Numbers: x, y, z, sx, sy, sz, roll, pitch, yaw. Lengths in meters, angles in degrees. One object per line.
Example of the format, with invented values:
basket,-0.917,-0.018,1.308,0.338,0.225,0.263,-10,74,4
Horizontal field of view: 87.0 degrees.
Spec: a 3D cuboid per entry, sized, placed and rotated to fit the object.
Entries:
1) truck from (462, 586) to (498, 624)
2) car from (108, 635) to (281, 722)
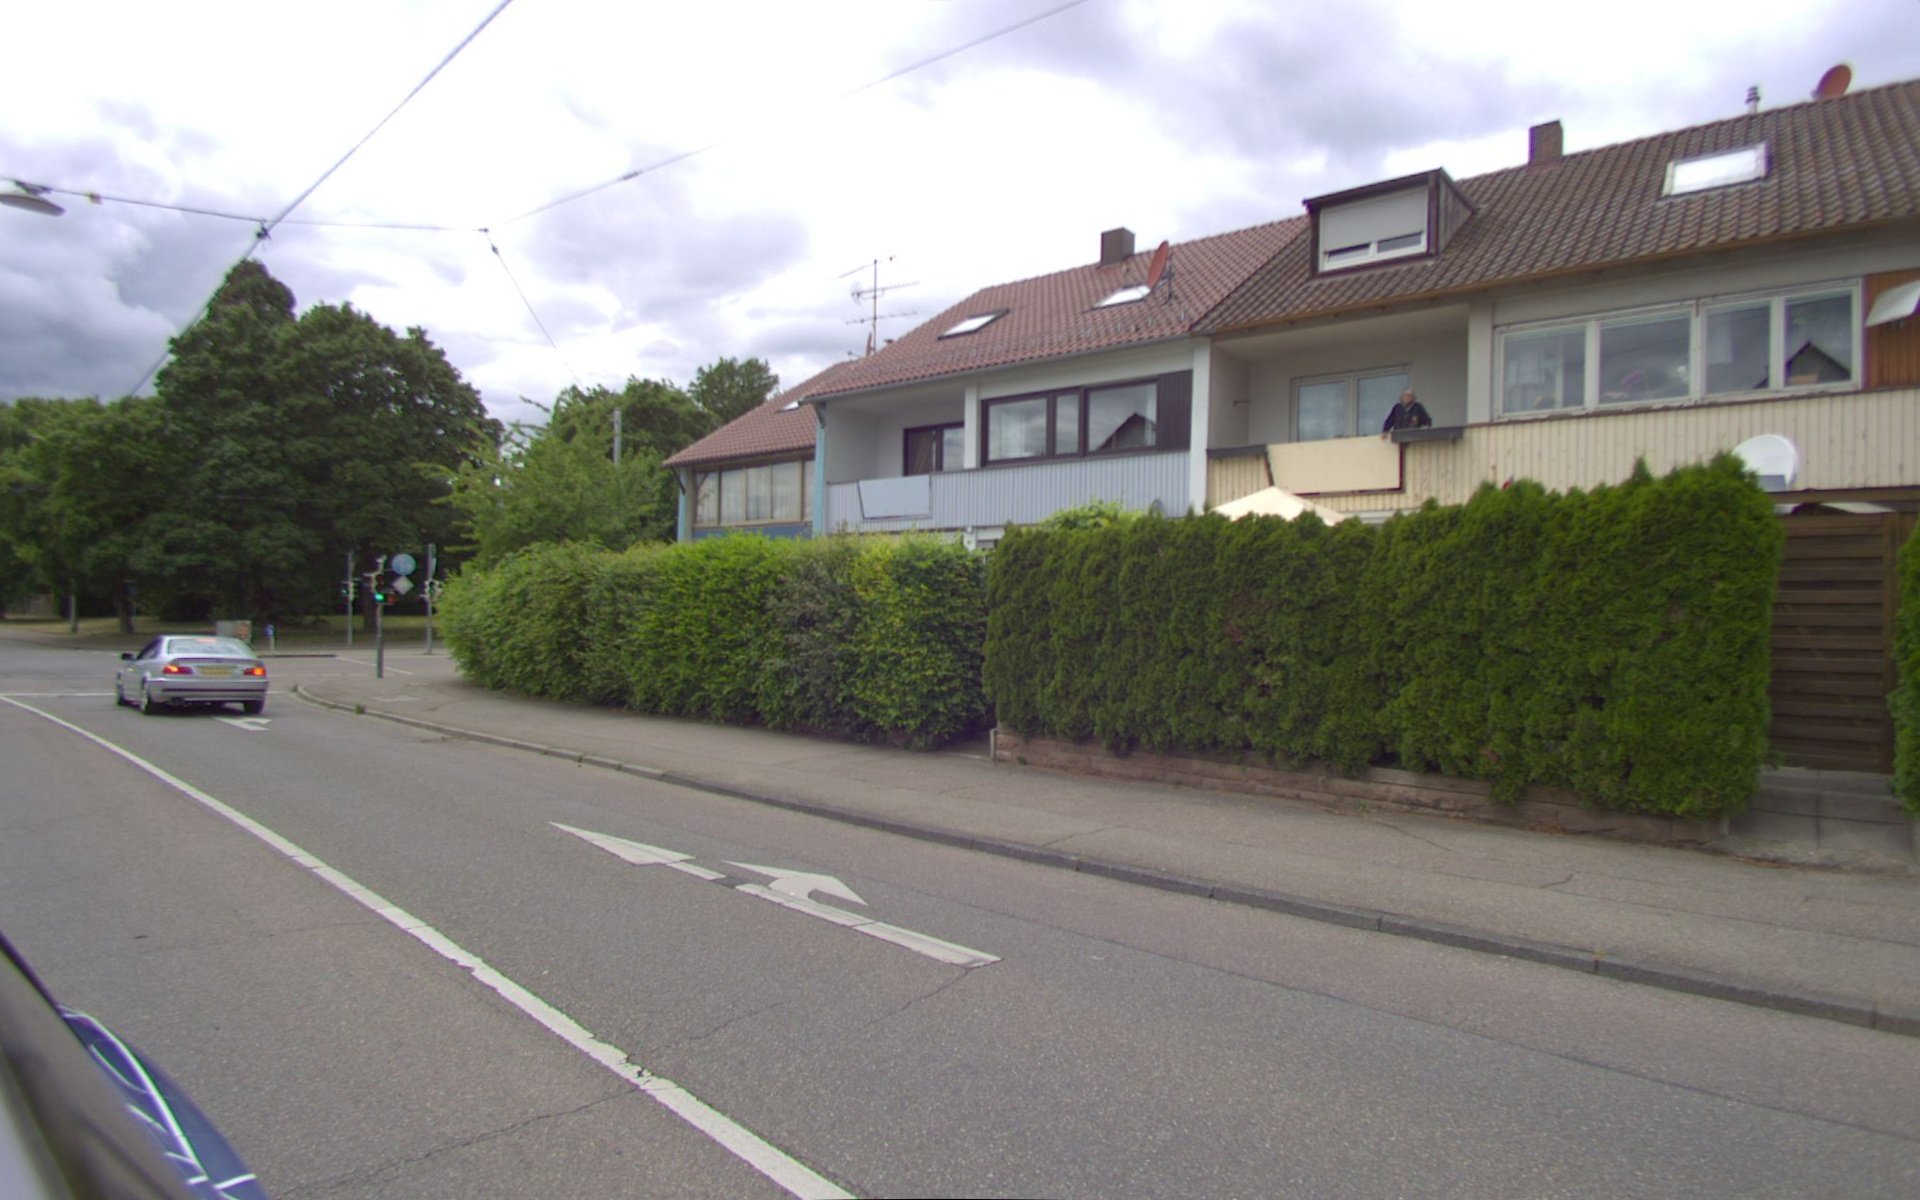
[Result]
truck,-37.583,0.395,79.192,2.440,2.869,7.457,0,0,-26
car,-14.008,1.389,18.432,4.082,1.364,1.694,-1,-6,42
